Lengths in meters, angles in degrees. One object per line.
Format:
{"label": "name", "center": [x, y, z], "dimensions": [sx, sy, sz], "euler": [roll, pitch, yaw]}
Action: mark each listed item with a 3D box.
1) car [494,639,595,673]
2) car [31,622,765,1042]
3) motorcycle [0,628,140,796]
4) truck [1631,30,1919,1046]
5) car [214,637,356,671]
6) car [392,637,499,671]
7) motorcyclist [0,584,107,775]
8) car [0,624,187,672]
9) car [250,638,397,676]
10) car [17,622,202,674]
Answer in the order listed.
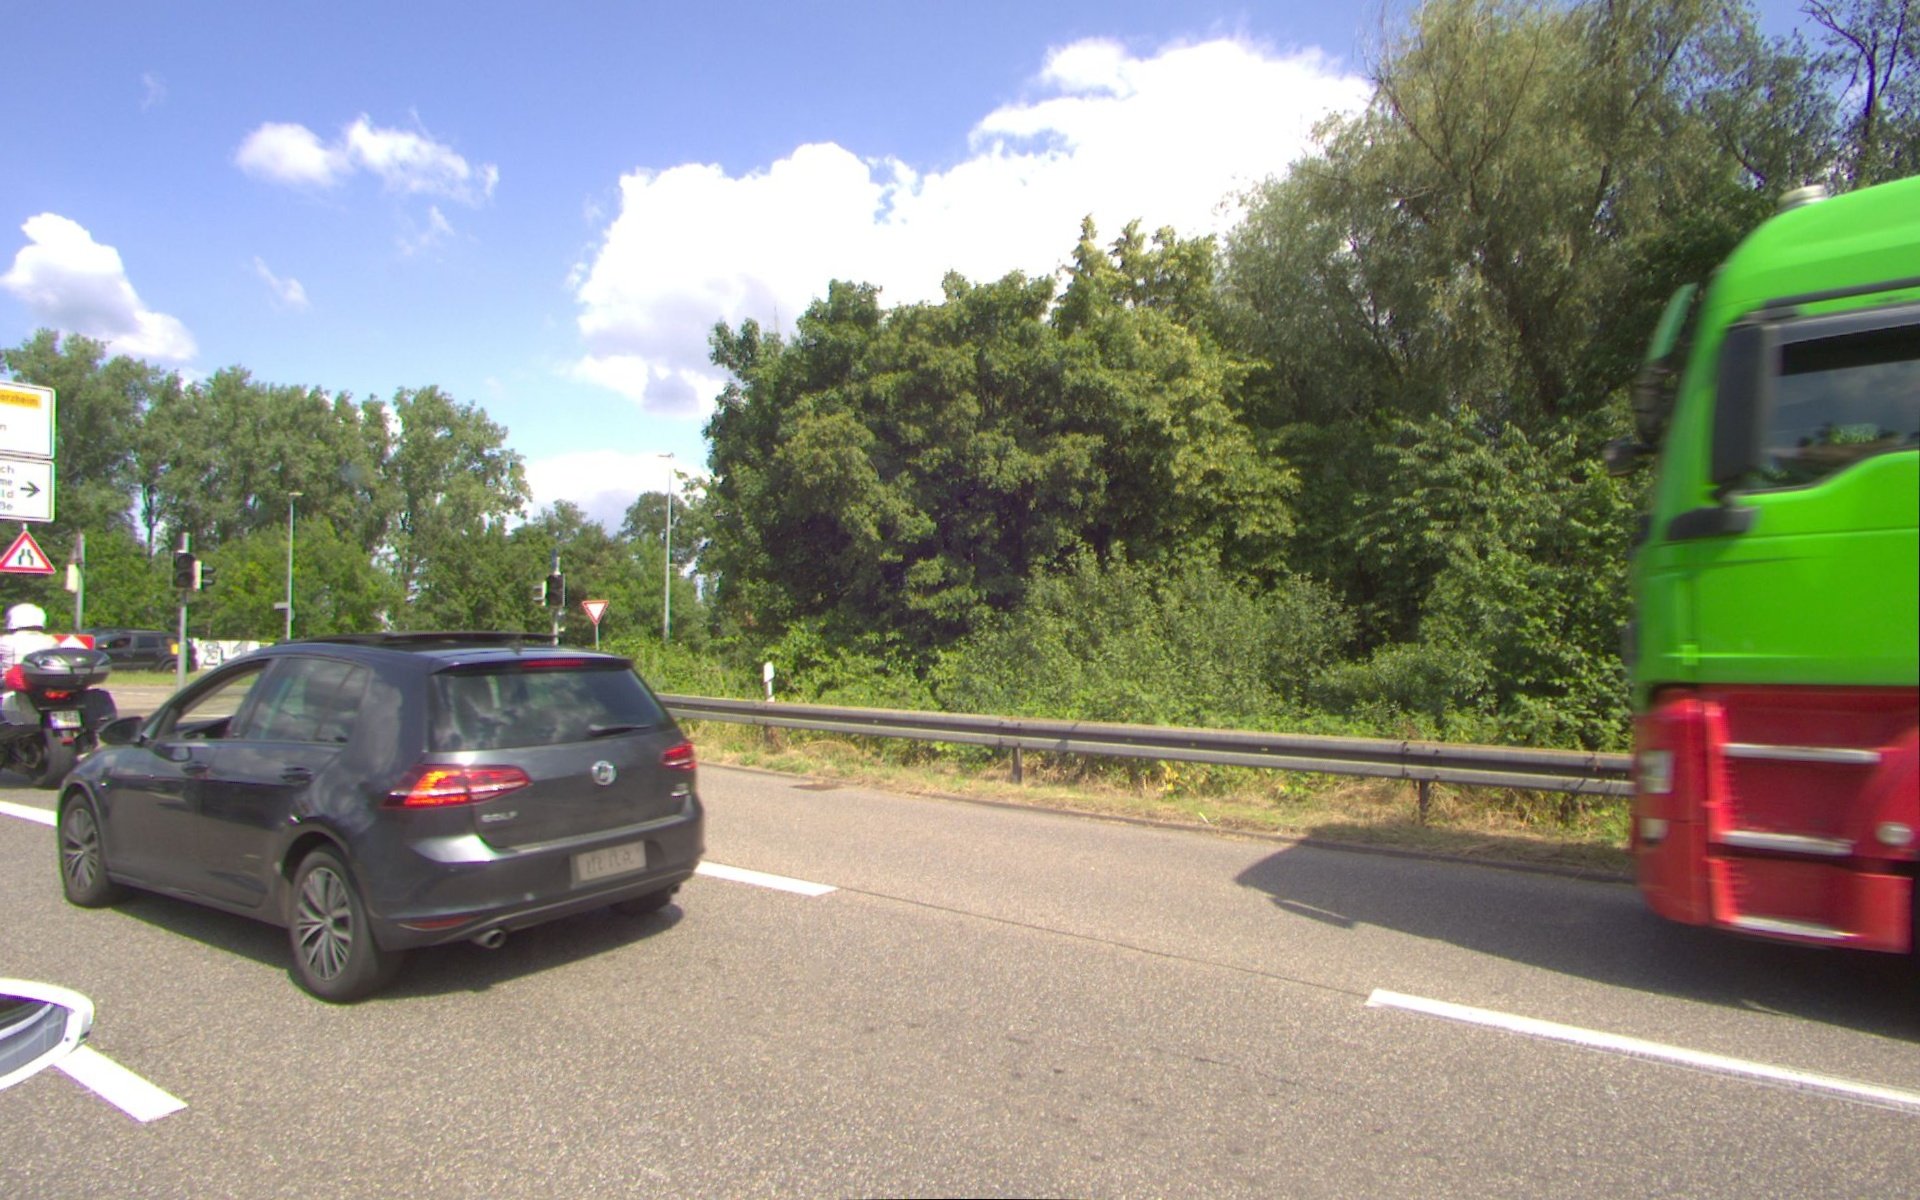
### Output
{"label": "car", "center": [-19.485, 2.621, 47.095], "dimensions": [1.710, 1.495, 4.222], "euler": [0, -3, 29]}
{"label": "car", "center": [-3.136, 0.889, 5.389], "dimensions": [3.988, 1.495, 1.729], "euler": [-1, -3, 32]}
{"label": "motorcycle", "center": [-8.793, 0.982, 9.485], "dimensions": [2.336, 1.406, 0.864], "euler": [0, -2, 32]}
{"label": "truck", "center": [6.118, -0.209, 3.745], "dimensions": [5.980, 3.941, 2.580], "euler": [-1, -4, 35]}
{"label": "car", "center": [-27.293, 2.190, 40.630], "dimensions": [1.710, 1.297, 4.491], "euler": [0, -3, 29]}
{"label": "car", "center": [-23.966, 2.514, 46.800], "dimensions": [1.710, 1.495, 4.222], "euler": [0, -3, 29]}
{"label": "motorcyclist", "center": [-8.867, 0.734, 9.543], "dimensions": [0.881, 1.722, 0.864], "euler": [0, -2, 32]}
{"label": "car", "center": [-30.406, 1.694, 35.180], "dimensions": [1.711, 1.564, 4.842], "euler": [0, -3, 31]}
{"label": "car", "center": [-24.199, 2.152, 38.262], "dimensions": [1.710, 1.337, 4.471], "euler": [0, -3, 29]}
{"label": "car", "center": [-27.550, 1.561, 32.585], "dimensions": [1.711, 1.564, 4.264], "euler": [0, -3, 31]}
